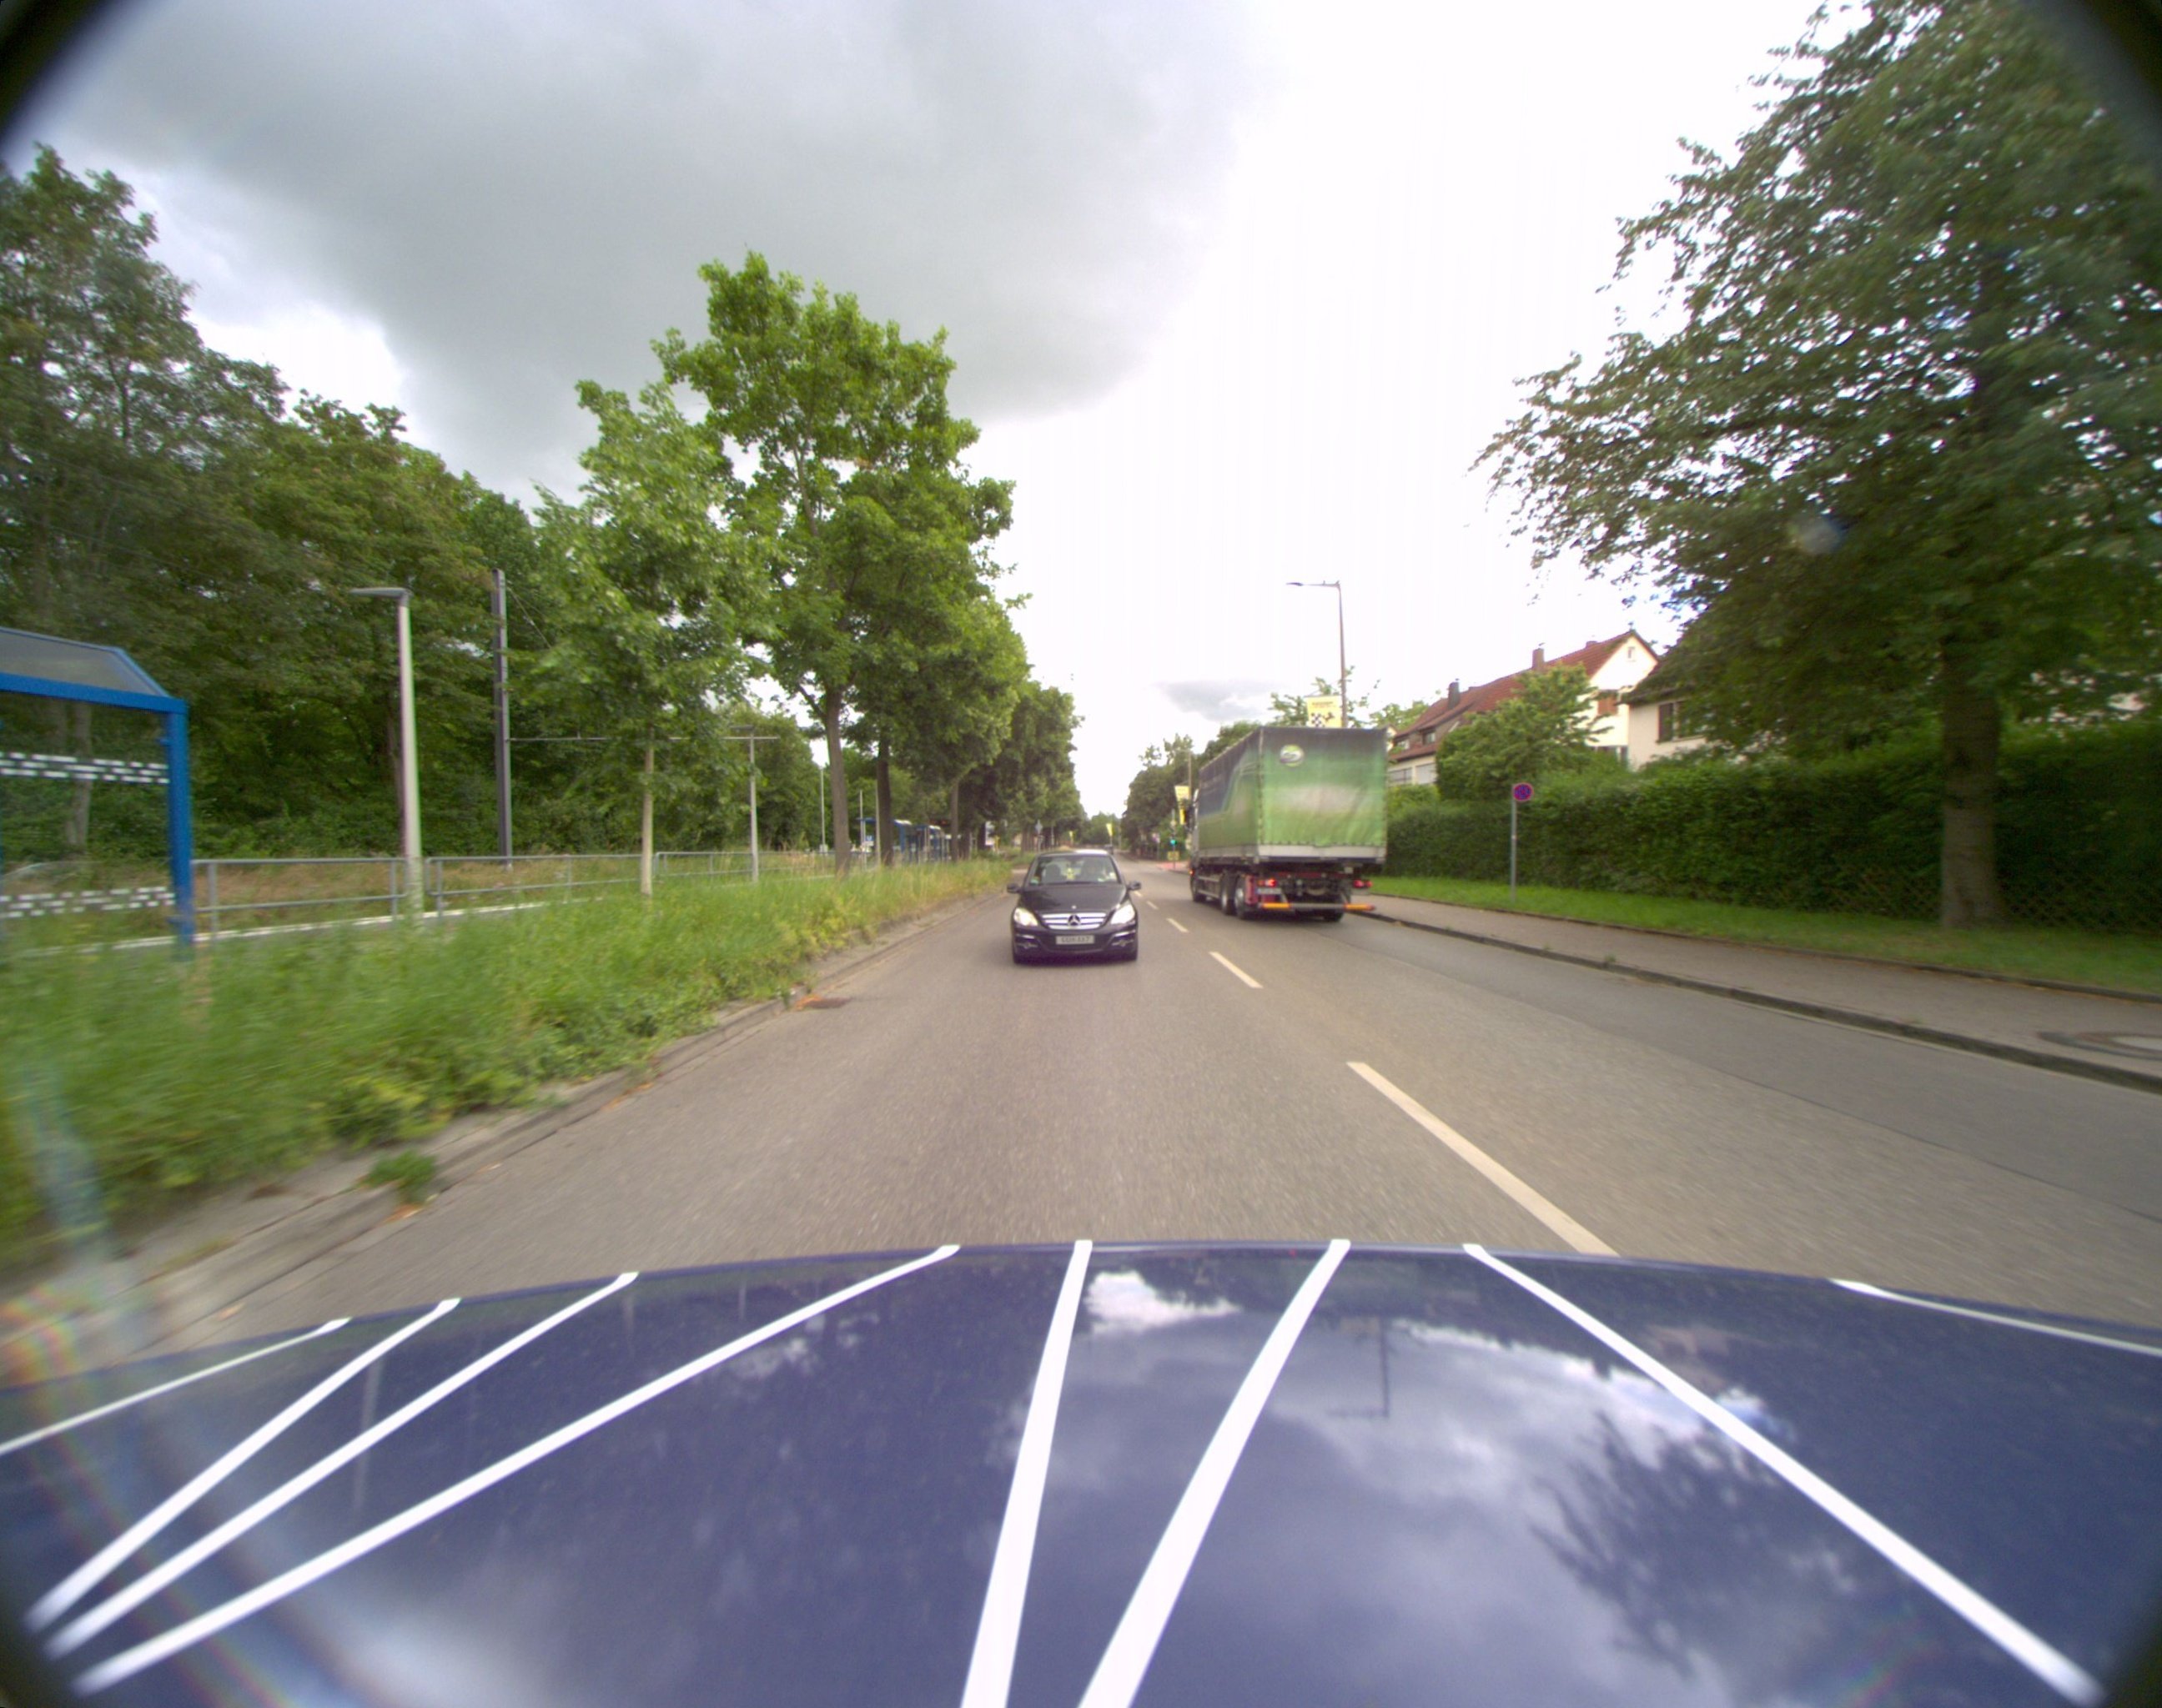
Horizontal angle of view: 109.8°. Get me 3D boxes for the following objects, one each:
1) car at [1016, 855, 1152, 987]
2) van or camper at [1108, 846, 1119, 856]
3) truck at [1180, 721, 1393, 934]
[{"bbox_3d":[0.030,0.863,11.924,1.683,1.565,4.482,-2,1,0],"label":"car"},{"bbox_3d":[6.629,-0.569,155.425,1.918,1.888,4.811,-2,0,0],"label":"van or camper"},{"bbox_3d":[4.638,-0.597,19.929,2.556,4.021,10.617,1,1,0],"label":"truck"}]
